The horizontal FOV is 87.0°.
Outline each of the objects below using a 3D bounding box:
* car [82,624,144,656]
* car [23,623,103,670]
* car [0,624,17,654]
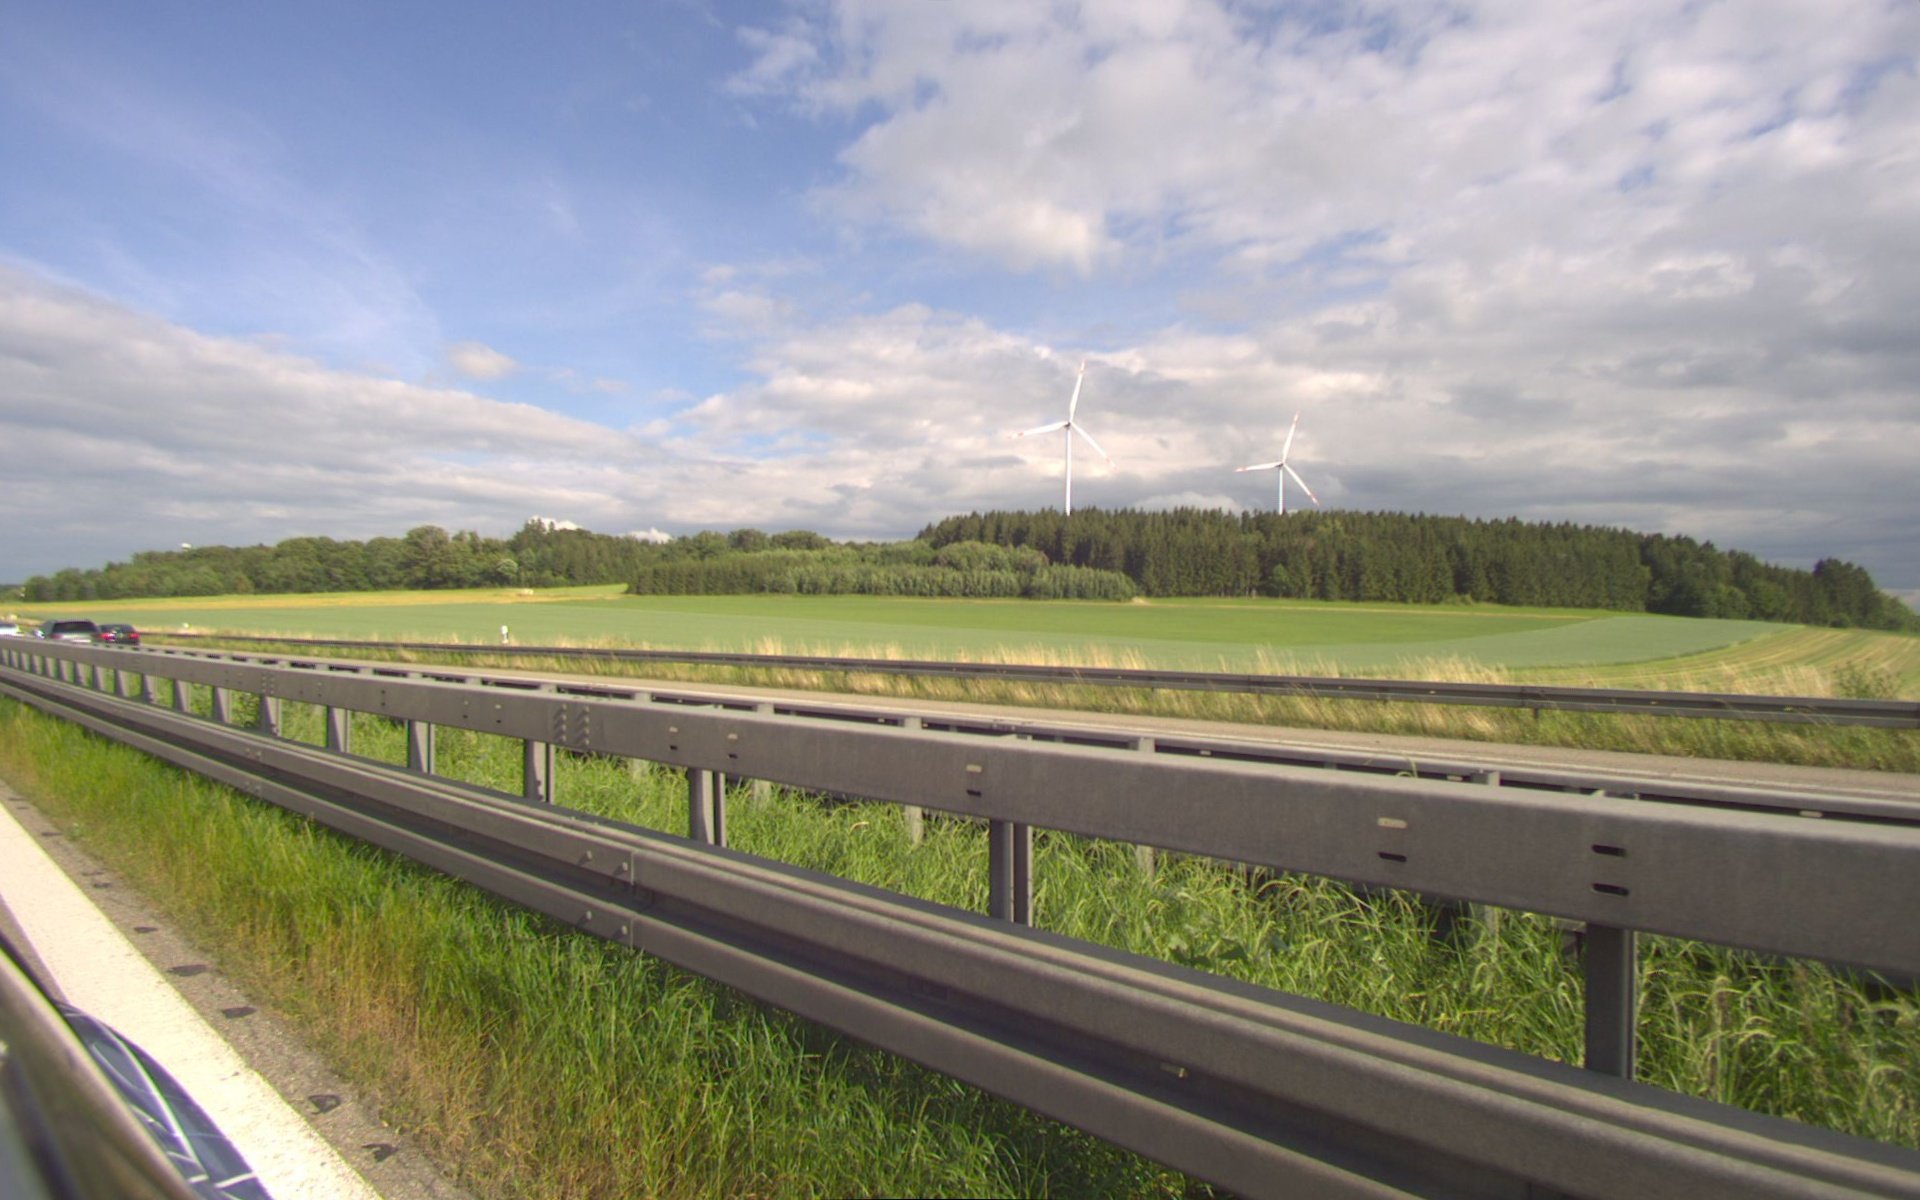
[{"bbox_3d":[-43.527,2.031,51.954,4.477,1.490,1.732,0,0,41],"label":"car"},{"bbox_3d":[-34.354,1.723,38.744,4.263,1.615,1.732,0,0,41],"label":"car"},{"bbox_3d":[-53.155,2.129,55.447,4.477,1.532,1.732,0,0,41],"label":"car"}]
